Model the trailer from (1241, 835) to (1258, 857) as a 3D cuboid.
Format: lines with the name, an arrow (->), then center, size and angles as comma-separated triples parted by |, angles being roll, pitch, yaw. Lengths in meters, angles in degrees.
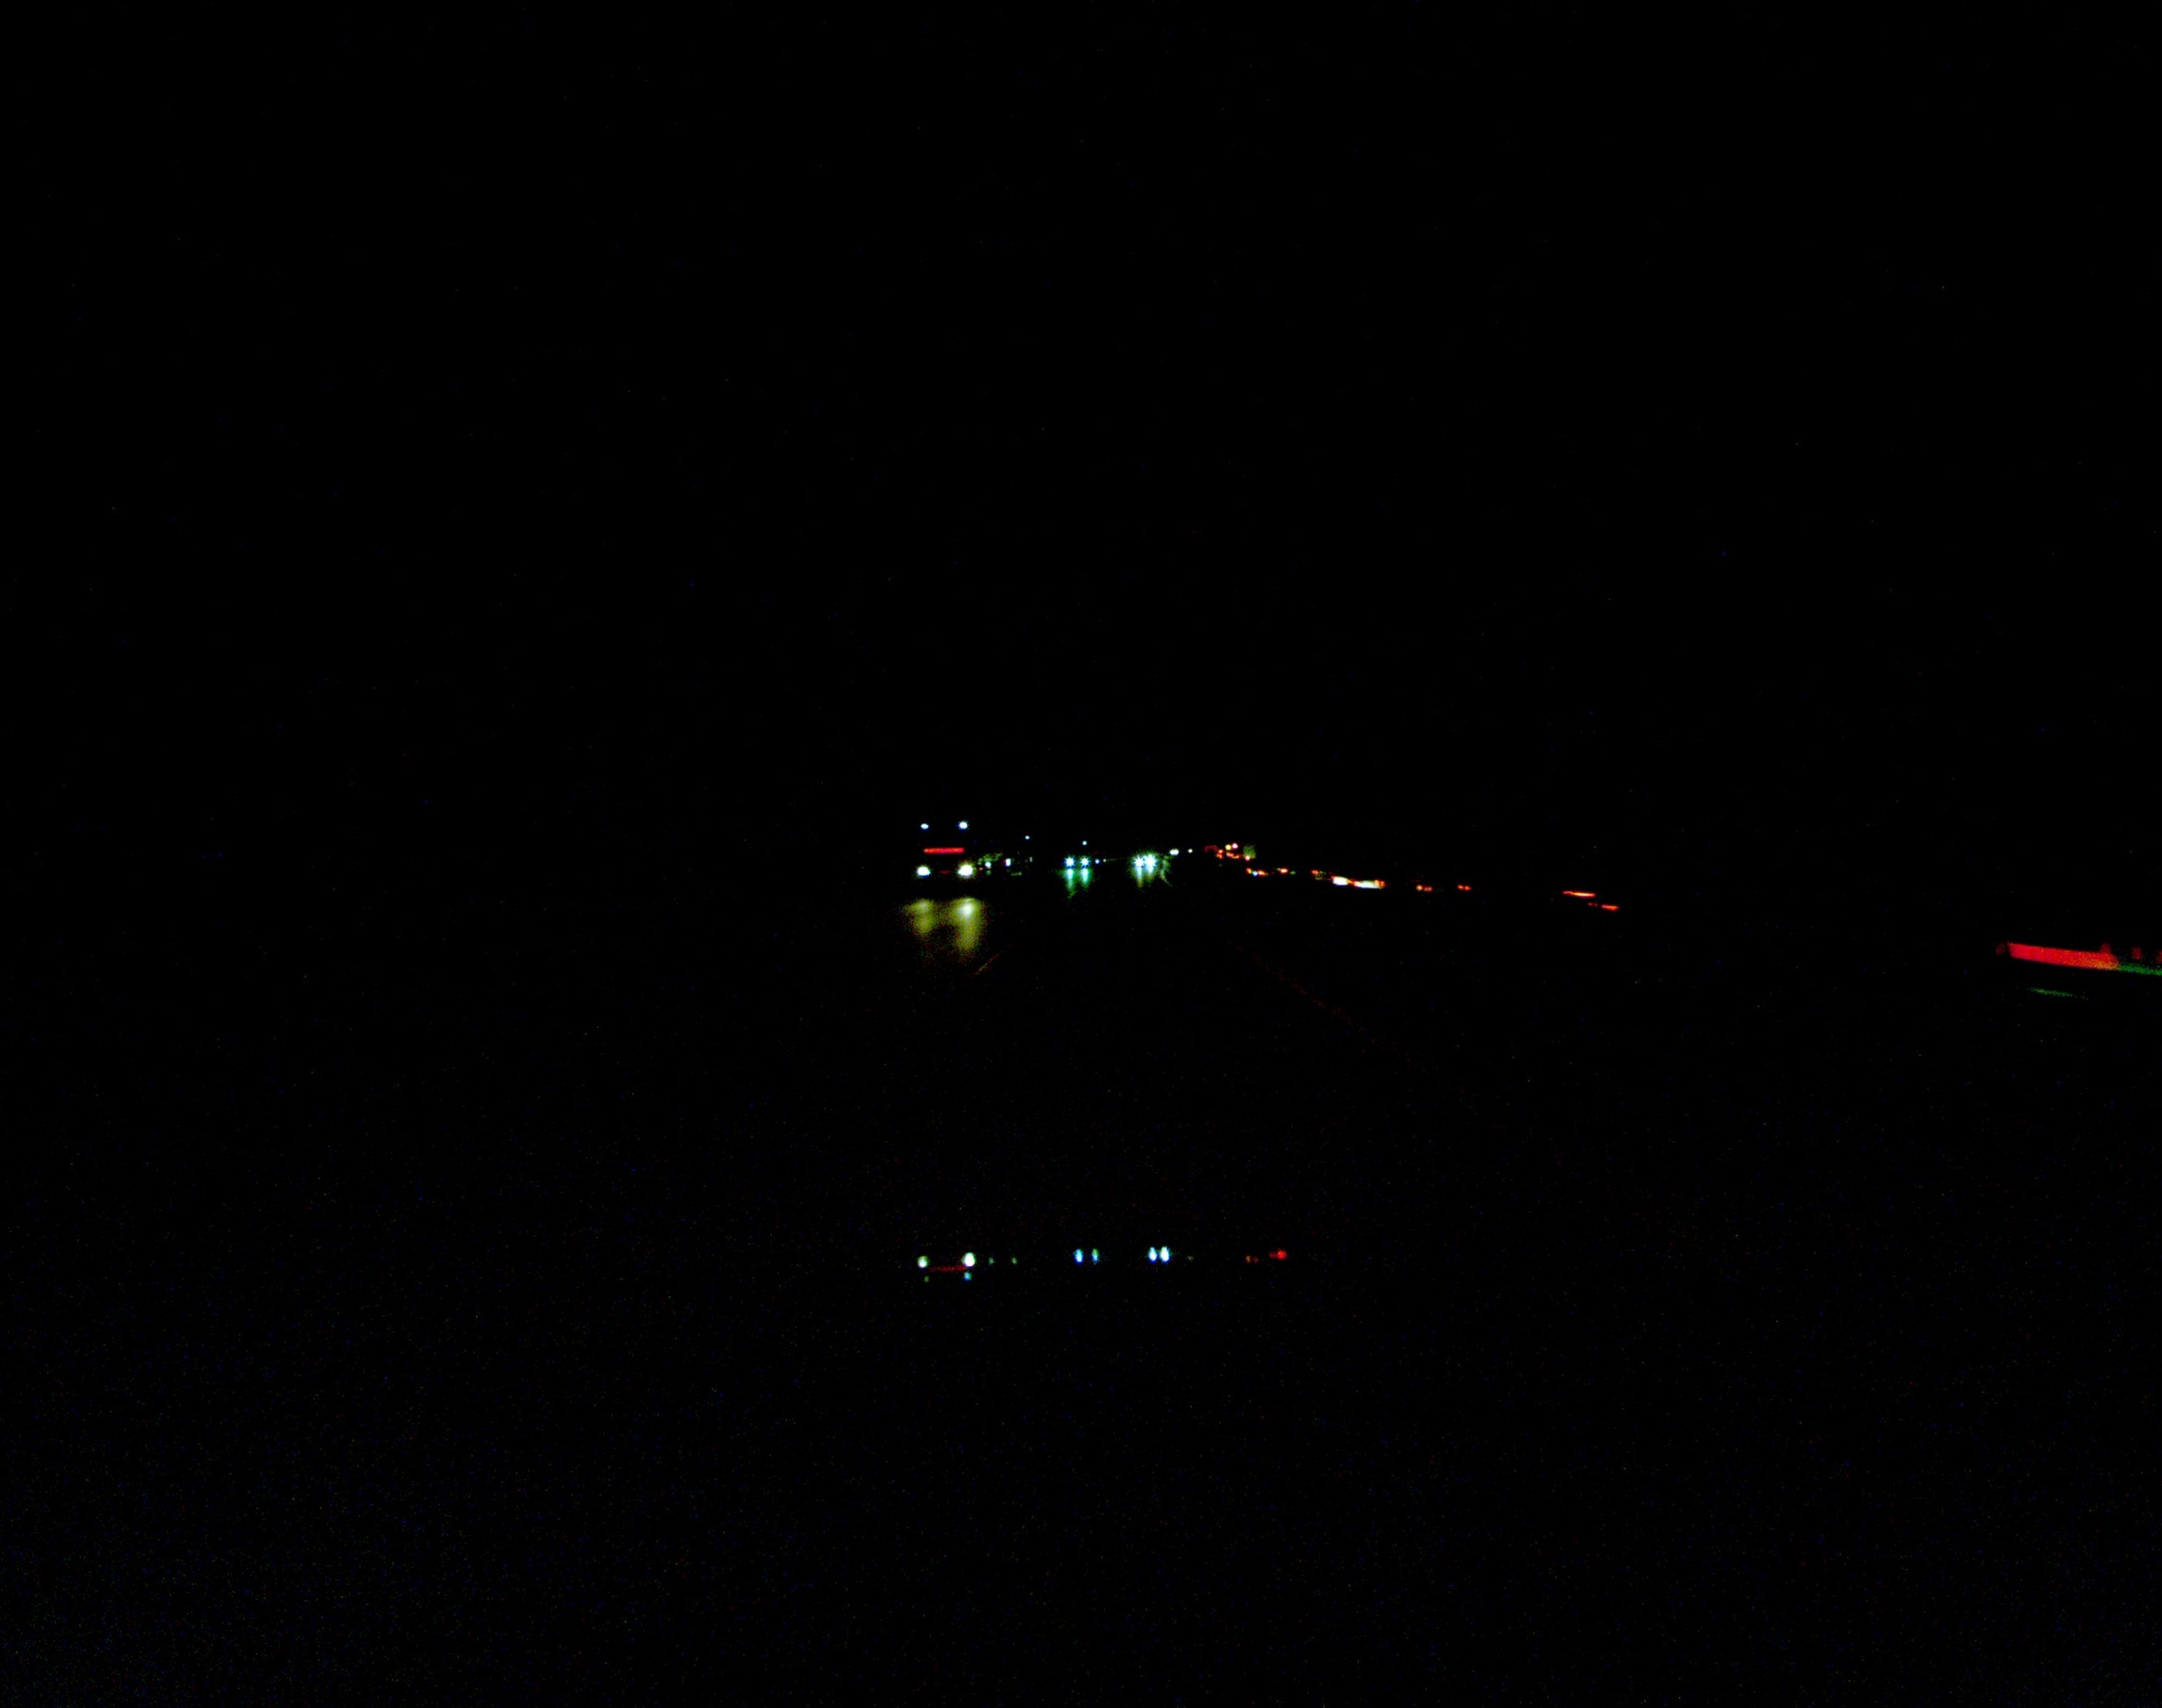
trailer -> 35.922, -1.727, 162.193 | 3.154, 4.291, 14.821 | -3, 1, 12

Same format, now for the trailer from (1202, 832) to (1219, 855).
trailer -> 22.853, -1.910, 133.891 | 2.539, 3.692, 10.132 | -3, 1, 10

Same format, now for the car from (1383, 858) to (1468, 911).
car -> 17.656, 1.461, 39.288 | 2.032, 2.427, 5.696 | -2, 0, 4

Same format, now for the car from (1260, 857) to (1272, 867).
car -> 27.341, 1.232, 112.243 | 1.709, 1.368, 4.004 | -1, 0, 14

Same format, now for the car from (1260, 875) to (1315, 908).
car -> 10.504, 1.869, 38.965 | 1.821, 1.460, 4.280 | -1, 0, 3

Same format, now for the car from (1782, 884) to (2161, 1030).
car -> 16.427, 1.679, 14.175 | 2.144, 2.042, 5.113 | 0, 0, 3

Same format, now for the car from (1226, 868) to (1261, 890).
car -> 11.847, 1.818, 55.718 | 1.821, 1.460, 4.280 | -1, 0, 3

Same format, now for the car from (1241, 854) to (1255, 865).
car -> 23.259, 0.804, 105.973 | 1.722, 1.295, 4.004 | -5, -1, 13

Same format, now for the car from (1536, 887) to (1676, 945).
car -> 17.184, 1.982, 25.140 | 1.821, 1.548, 4.280 | -1, 0, 3

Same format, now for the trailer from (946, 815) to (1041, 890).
trailer -> -5.099, -0.024, 47.571 | 2.880, 3.908, 12.895 | -2, -1, 7

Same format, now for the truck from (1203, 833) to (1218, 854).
truck -> 24.014, -1.945, 140.702 | 2.608, 3.722, 6.759 | -3, 1, 10

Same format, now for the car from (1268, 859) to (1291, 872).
car -> 24.174, 1.377, 92.516 | 1.907, 1.445, 4.713 | -2, 0, 5

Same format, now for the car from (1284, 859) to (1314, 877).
car -> 22.500, 1.410, 78.595 | 2.079, 1.625, 4.923 | -2, 0, 6

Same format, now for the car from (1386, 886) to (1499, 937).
car -> 13.960, 2.164, 29.768 | 2.144, 1.613, 5.113 | 0, 0, 2

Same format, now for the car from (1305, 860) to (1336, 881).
car -> 21.426, 1.476, 68.150 | 1.756, 1.706, 4.001 | -2, 0, 5

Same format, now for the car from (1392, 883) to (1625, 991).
car -> 8.535, 1.560, 15.887 | 2.144, 1.696, 5.113 | 0, 0, 2

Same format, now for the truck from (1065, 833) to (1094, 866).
truck -> -0.121, -0.551, 94.631 | 2.898, 3.949, 4.003 | -2, 0, 9

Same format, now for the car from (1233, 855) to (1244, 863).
car -> 28.106, 0.820, 135.945 | 1.803, 1.408, 4.003 | 0, 0, 10

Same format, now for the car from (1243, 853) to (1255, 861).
car -> 33.058, 0.603, 149.483 | 1.997, 1.482, 4.406 | -2, 0, 10

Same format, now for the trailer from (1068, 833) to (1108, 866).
trailer -> 1.127, -0.608, 102.411 | 2.838, 3.951, 15.774 | -2, 0, 9

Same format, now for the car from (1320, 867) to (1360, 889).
car -> 19.636, 1.792, 57.734 | 1.827, 1.449, 4.001 | 1, 0, 4

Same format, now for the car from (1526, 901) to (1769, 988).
car -> 13.185, 2.028, 18.231 | 2.144, 1.481, 5.113 | 0, 0, 2

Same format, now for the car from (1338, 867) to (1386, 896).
car -> 18.286, 1.746, 49.588 | 1.955, 1.706, 4.001 | -1, 0, 5

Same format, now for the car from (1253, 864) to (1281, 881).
car -> 17.902, 1.743, 73.414 | 1.907, 1.445, 4.713 | -2, 0, 5

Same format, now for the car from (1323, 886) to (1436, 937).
car -> 10.421, 1.951, 27.008 | 2.144, 1.442, 5.113 | 0, 0, 2

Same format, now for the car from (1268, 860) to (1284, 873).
car -> 25.768, 1.648, 100.488 | 1.700, 1.390, 4.005 | 10, 2, 14

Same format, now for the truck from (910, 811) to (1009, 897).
truck -> -5.992, -0.025, 38.924 | 2.873, 3.817, 8.057 | -2, 0, 6

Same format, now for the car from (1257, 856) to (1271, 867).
car -> 29.214, 1.170, 121.111 | 1.997, 1.539, 4.142 | -2, 0, 12
